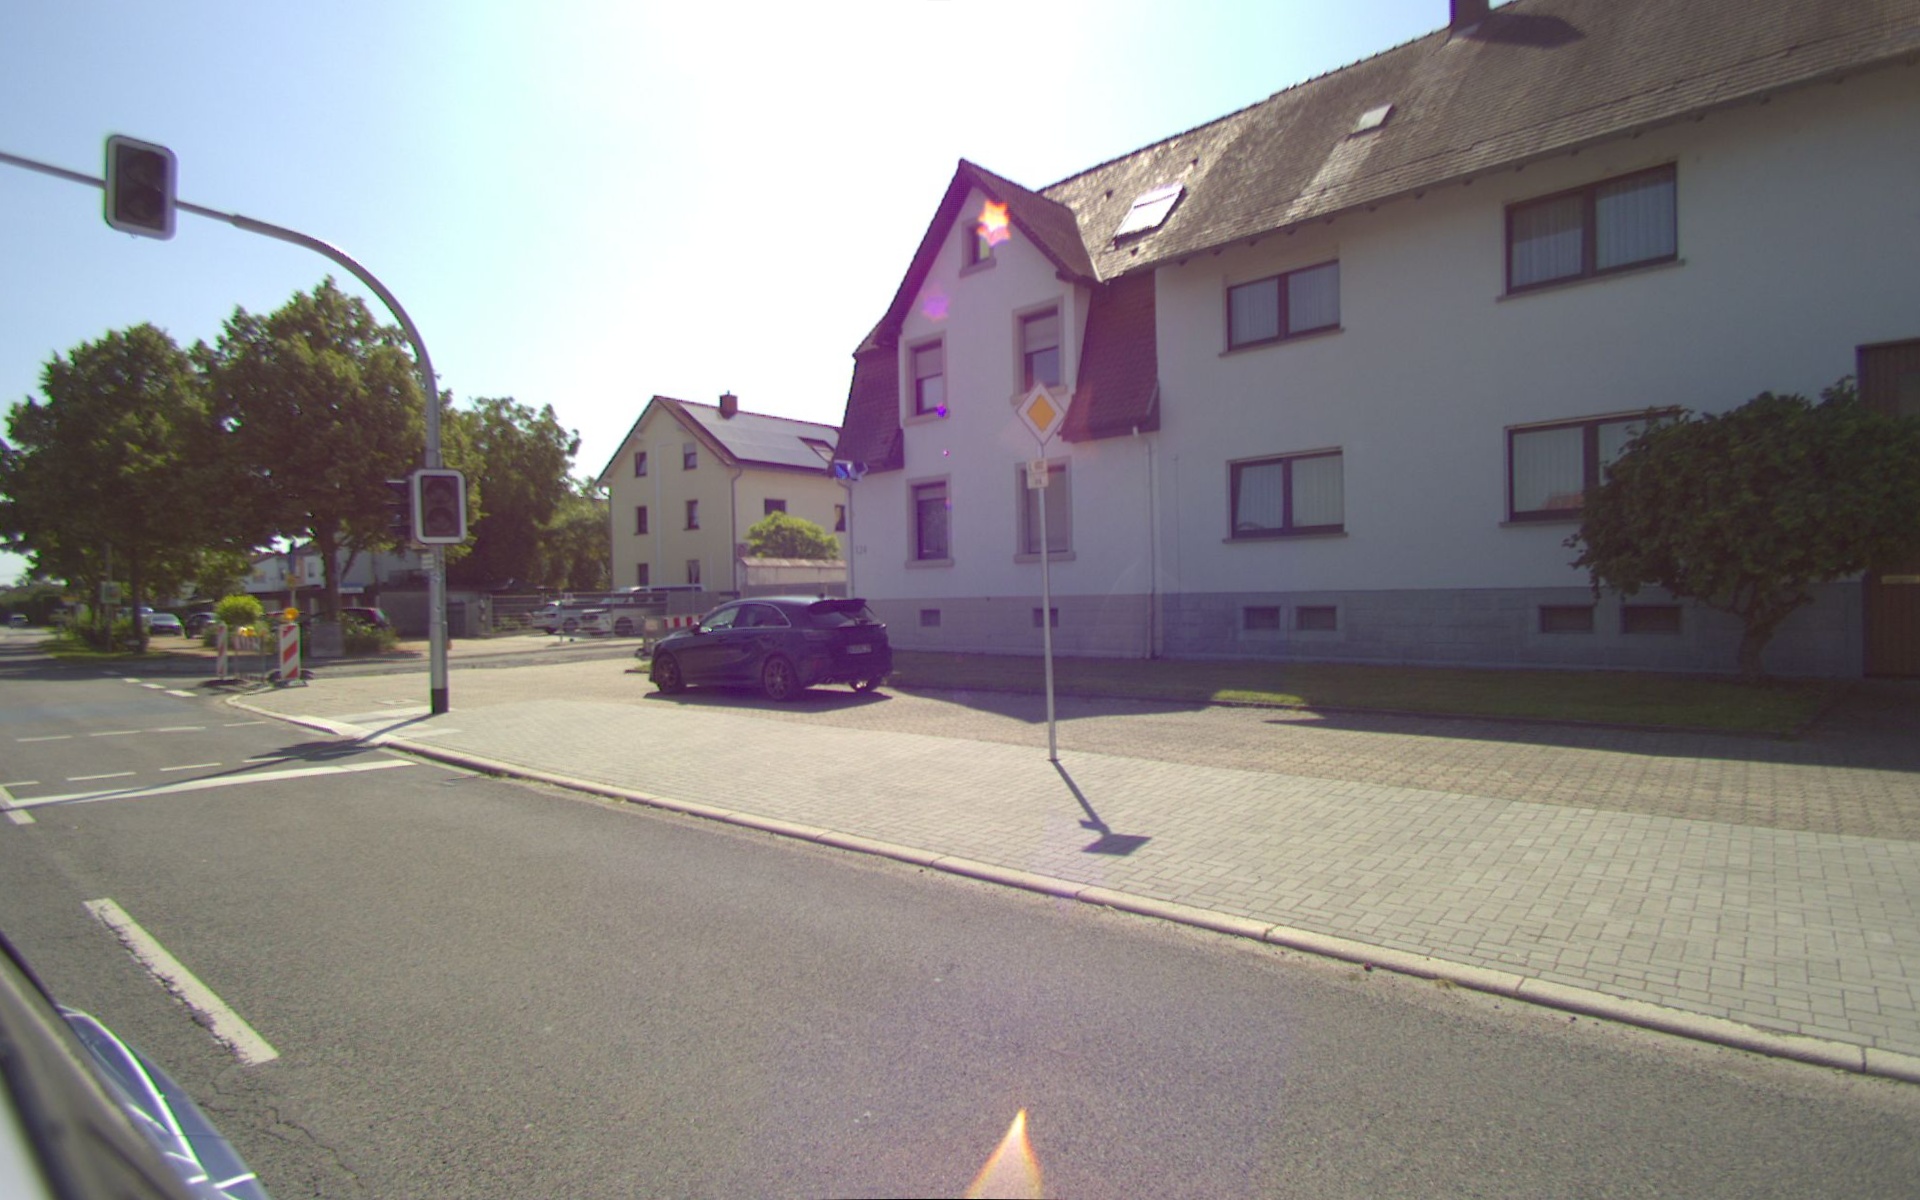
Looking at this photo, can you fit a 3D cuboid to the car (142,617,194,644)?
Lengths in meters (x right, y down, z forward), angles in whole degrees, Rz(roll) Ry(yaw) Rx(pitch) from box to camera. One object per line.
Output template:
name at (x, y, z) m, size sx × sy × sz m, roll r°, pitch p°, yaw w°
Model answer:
car at (-47.706, 1.824, 60.956) m, size 4.001 × 1.516 × 1.971 m, roll -2°, pitch -1°, yaw 44°

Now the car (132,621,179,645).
car at (-53.638, 2.155, 67.449) m, size 4.001 × 1.516 × 1.971 m, roll -2°, pitch -1°, yaw 44°

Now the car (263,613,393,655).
car at (-24.617, 1.308, 39.595) m, size 3.932 × 1.516 × 2.006 m, roll -1°, pitch -1°, yaw -16°

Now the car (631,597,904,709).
car at (-2.983, 0.686, 15.064) m, size 4.397 × 1.418 × 1.696 m, roll 0°, pitch -1°, yaw 42°

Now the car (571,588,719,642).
car at (-12.601, 0.582, 40.881) m, size 1.998 × 2.061 × 5.554 m, roll -1°, pitch -1°, yaw 39°

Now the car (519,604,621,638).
car at (-18.073, 0.957, 47.021) m, size 1.999 × 1.516 × 3.946 m, roll -1°, pitch -1°, yaw 40°
